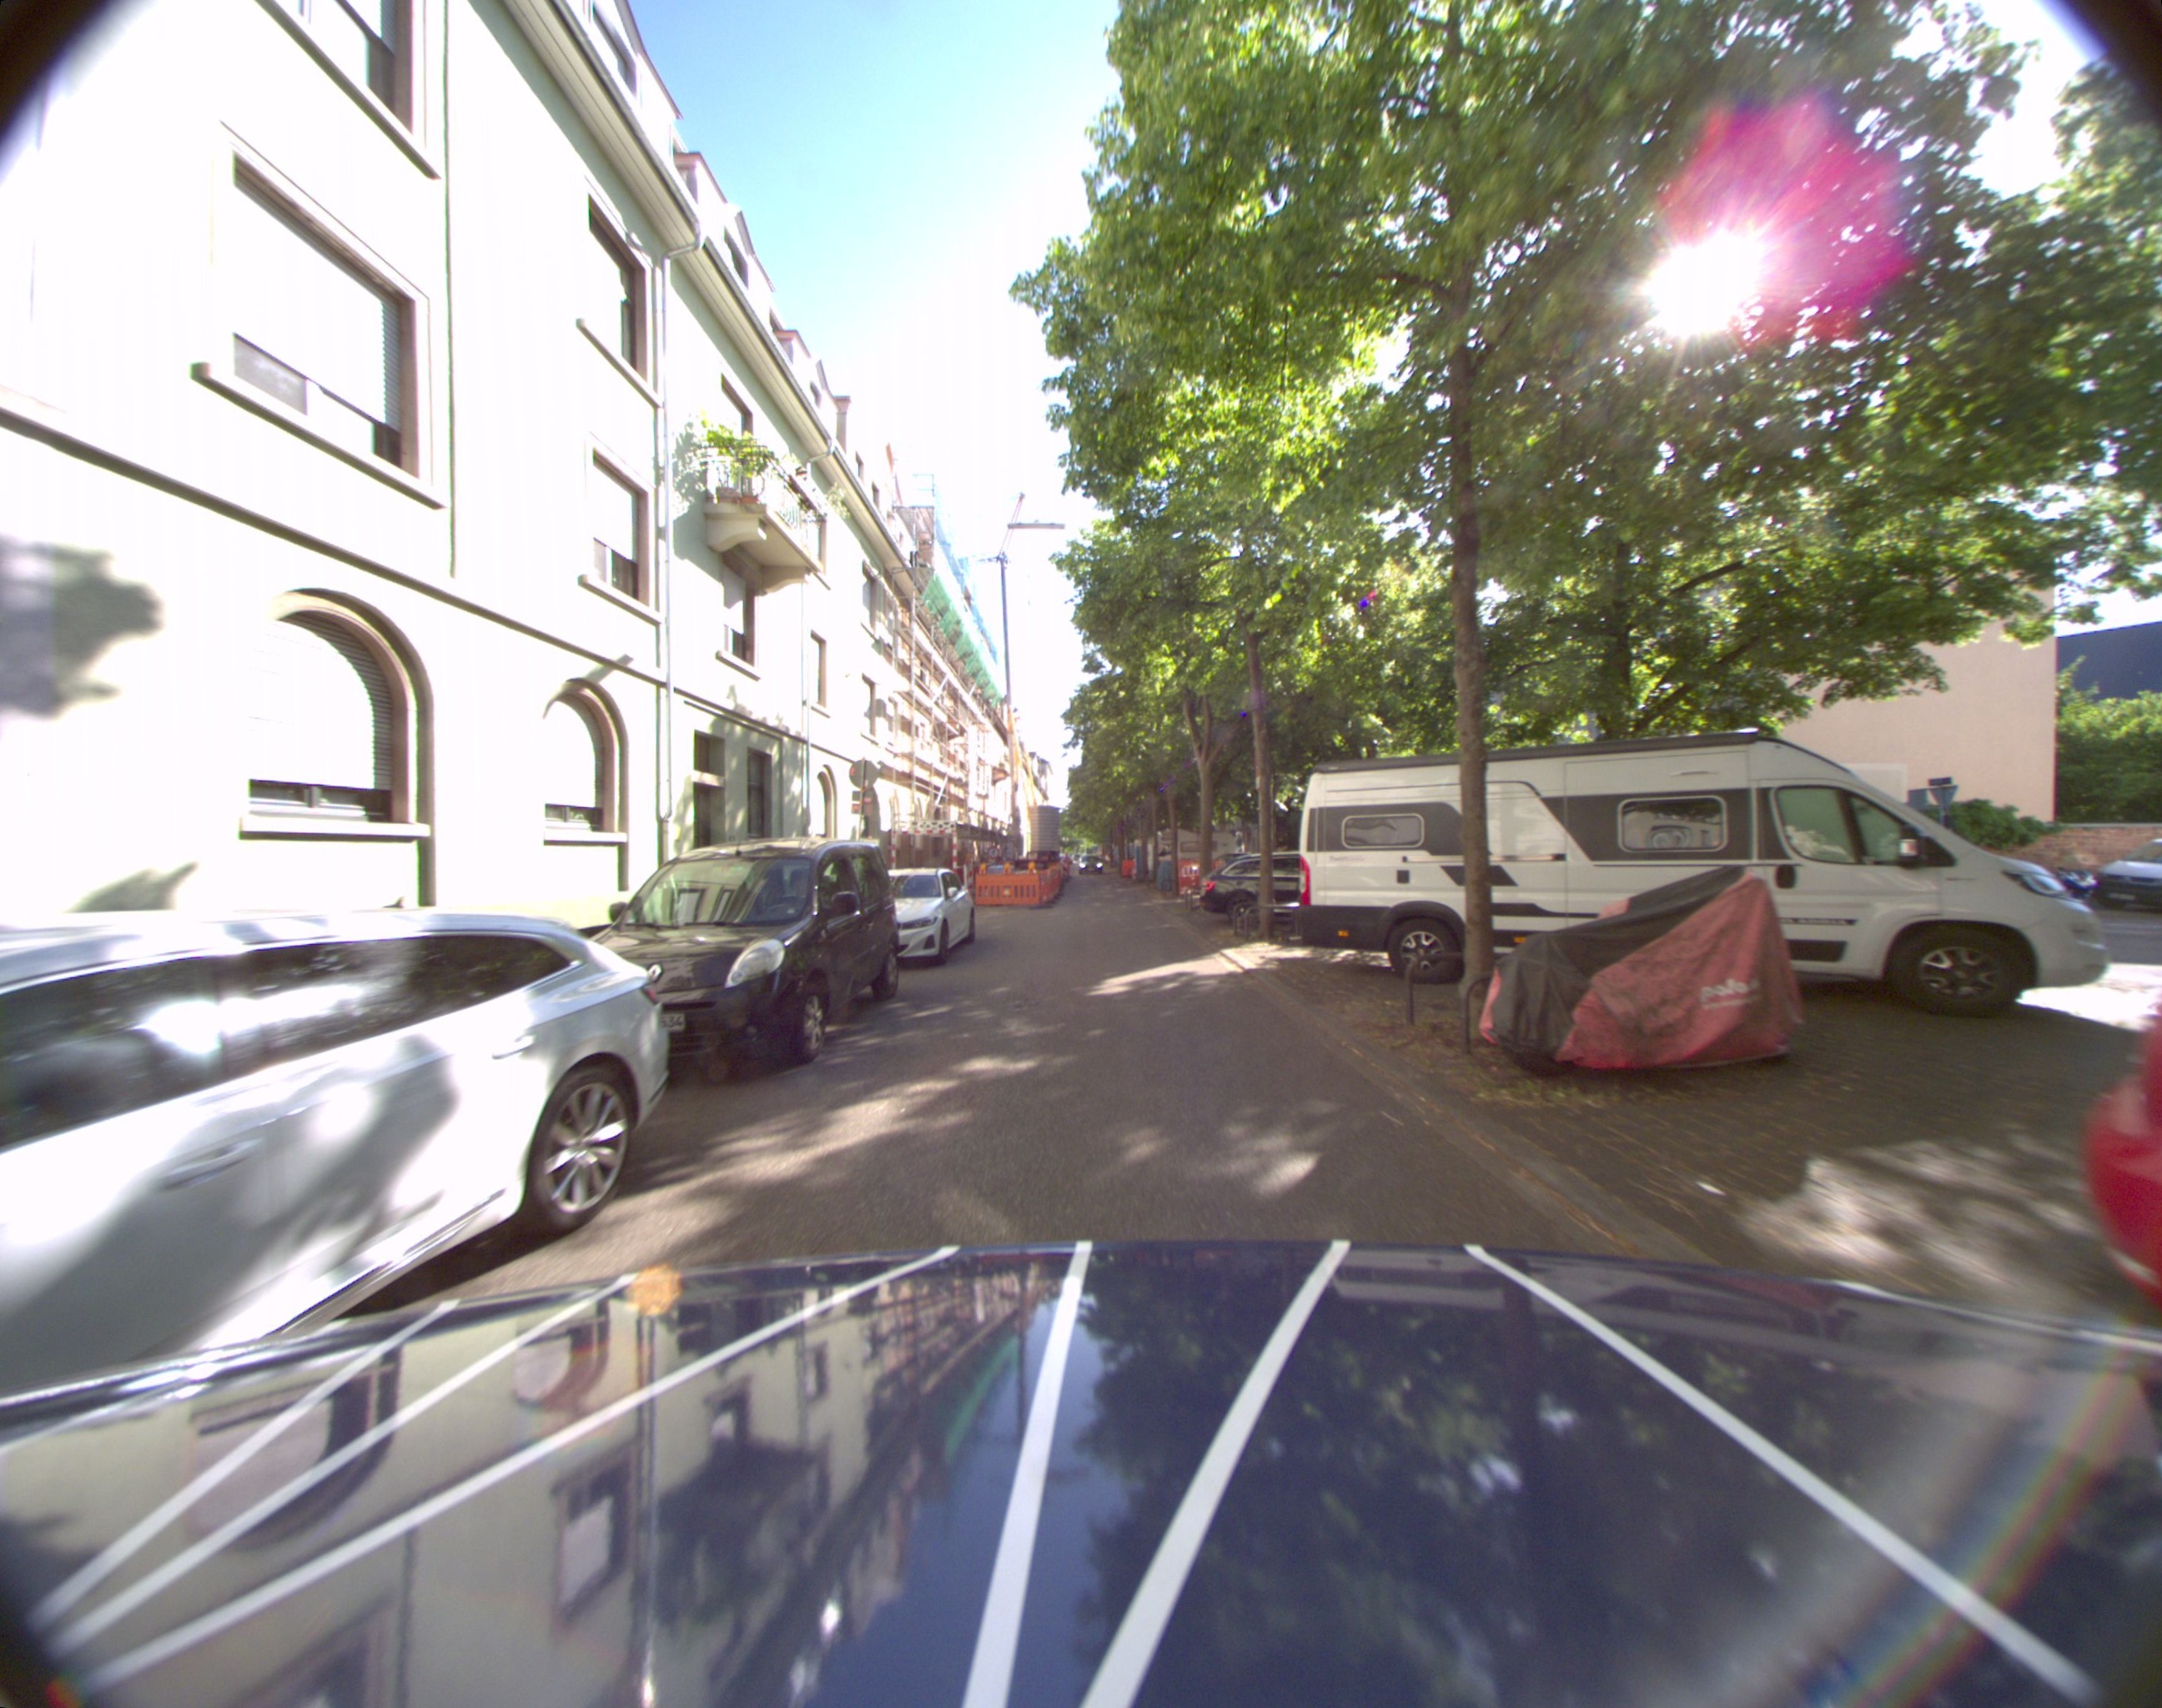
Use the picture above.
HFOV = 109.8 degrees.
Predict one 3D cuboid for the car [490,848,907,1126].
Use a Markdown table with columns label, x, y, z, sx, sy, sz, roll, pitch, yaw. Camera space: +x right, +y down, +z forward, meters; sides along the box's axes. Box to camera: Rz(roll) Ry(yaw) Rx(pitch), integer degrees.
| label | x | y | z | sx | sy | sz | roll | pitch | yaw |
| --- | --- | --- | --- | --- | --- | --- | --- | --- | --- |
| car | -2.922 | 0.848 | 6.908 | 1.776 | 1.783 | 3.989 | 0 | 0 | -1 |

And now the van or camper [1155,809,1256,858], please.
| label | x | y | z | sx | sy | sz | roll | pitch | yaw |
| --- | --- | --- | --- | --- | --- | --- | --- | --- | --- |
| van or camper | 8.105 | -1.278 | 49.649 | 6.017 | 2.984 | 2.404 | 0 | 1 | 29 |

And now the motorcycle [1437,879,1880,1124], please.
| label | x | y | z | sx | sy | sz | roll | pitch | yaw |
| --- | --- | --- | --- | --- | --- | --- | --- | --- | --- |
| motorcycle | 3.698 | 0.861 | 4.980 | 2.326 | 1.327 | 0.968 | -1 | 1 | -9 |

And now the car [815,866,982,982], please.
| label | x | y | z | sx | sy | sz | roll | pitch | yaw |
| --- | --- | --- | --- | --- | --- | --- | --- | --- | --- |
| car | -2.815 | 1.010 | 12.707 | 1.709 | 1.503 | 4.283 | 0 | 0 | 1 |

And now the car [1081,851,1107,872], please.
| label | x | y | z | sx | sy | sz | roll | pitch | yaw |
| --- | --- | --- | --- | --- | --- | --- | --- | --- | --- |
| car | 1.011 | 0.568 | 57.823 | 1.792 | 1.510 | 4.001 | 0 | 0 | 3 |

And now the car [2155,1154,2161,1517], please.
| label | x | y | z | sx | sy | sz | roll | pitch | yaw |
| --- | --- | --- | --- | --- | --- | --- | --- | --- | --- |
| car | 4.124 | 0.681 | 0.473 | 1.666 | 1.608 | 3.870 | 0 | 0 | -31 |

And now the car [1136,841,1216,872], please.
| label | x | y | z | sx | sy | sz | roll | pitch | yaw |
| --- | --- | --- | --- | --- | --- | --- | --- | --- | --- |
| car | 7.810 | 0.177 | 62.882 | 6.186 | 2.497 | 2.143 | 0 | 1 | 28 |

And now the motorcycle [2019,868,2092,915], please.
| label | x | y | z | sx | sy | sz | roll | pitch | yaw |
| --- | --- | --- | --- | --- | --- | --- | --- | --- | --- |
| motorcycle | 25.550 | 0.956 | 19.954 | 0.478 | 1.130 | 1.813 | 0 | 1 | 28 |

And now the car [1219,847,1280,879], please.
| label | x | y | z | sx | sy | sz | roll | pitch | yaw |
| --- | --- | --- | --- | --- | --- | --- | --- | --- | --- |
| car | 9.306 | 0.496 | 42.096 | 2.984 | 1.707 | 1.425 | 0 | 1 | 32 |

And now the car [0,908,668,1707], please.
| label | x | y | z | sx | sy | sz | roll | pitch | yaw |
| --- | --- | --- | --- | --- | --- | --- | --- | --- | --- |
| car | -2.918 | 1.015 | 1.604 | 1.611 | 1.412 | 4.567 | 0 | 1 | -1 |

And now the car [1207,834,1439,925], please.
| label | x | y | z | sx | sy | sz | roll | pitch | yaw |
| --- | --- | --- | --- | --- | --- | --- | --- | --- | --- |
| car | 4.824 | 0.542 | 15.298 | 4.091 | 1.516 | 1.705 | -5 | -2 | 31 |

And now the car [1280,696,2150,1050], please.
| label | x | y | z | sx | sy | sz | roll | pitch | yaw |
| --- | --- | --- | --- | --- | --- | --- | --- | --- | --- |
| car | 5.638 | 0.167 | 8.137 | 6.311 | 2.544 | 2.342 | -1 | 1 | 33 |

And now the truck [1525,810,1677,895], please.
| label | x | y | z | sx | sy | sz | roll | pitch | yaw |
| --- | --- | --- | --- | --- | --- | --- | --- | --- | --- |
| truck | 15.998 | -0.048 | 23.685 | 1.926 | 2.395 | 4.264 | 0 | 0 | 3 |

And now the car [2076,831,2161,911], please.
| label | x | y | z | sx | sy | sz | roll | pitch | yaw |
| --- | --- | --- | --- | --- | --- | --- | --- | --- | --- |
| car | 29.167 | 0.445 | 19.665 | 4.359 | 2.014 | 1.999 | 1 | 1 | -3 |

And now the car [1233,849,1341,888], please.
| label | x | y | z | sx | sy | sz | roll | pitch | yaw |
| --- | --- | --- | --- | --- | --- | --- | --- | --- | --- |
| car | 8.045 | 0.553 | 29.679 | 3.904 | 1.452 | 1.580 | 0 | 1 | 21 |

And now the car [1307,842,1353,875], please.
| label | x | y | z | sx | sy | sz | roll | pitch | yaw |
| --- | --- | --- | --- | --- | --- | --- | --- | --- | --- |
| car | 15.963 | 0.267 | 48.923 | 1.625 | 2.002 | 4.267 | -2 | 0 | 2 |

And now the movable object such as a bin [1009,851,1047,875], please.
| label | x | y | z | sx | sy | sz | roll | pitch | yaw |
| --- | --- | --- | --- | --- | --- | --- | --- | --- | --- |
| movable object such as a bin | -3.426 | 0.544 | 49.402 | 1.872 | 1.518 | 1.631 | 0 | 1 | 35 |

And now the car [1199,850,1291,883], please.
| label | x | y | z | sx | sy | sz | roll | pitch | yaw |
| --- | --- | --- | --- | --- | --- | --- | --- | --- | --- |
| car | 7.891 | 0.580 | 36.690 | 3.988 | 1.510 | 1.674 | 0 | 1 | 34 |

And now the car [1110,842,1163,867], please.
| label | x | y | z | sx | sy | sz | roll | pitch | yaw |
| --- | --- | --- | --- | --- | --- | --- | --- | --- | --- |
| car | 4.915 | 0.043 | 67.680 | 4.386 | 2.155 | 1.774 | 0 | 1 | 28 |

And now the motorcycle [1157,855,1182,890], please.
| label | x | y | z | sx | sy | sz | roll | pitch | yaw |
| --- | --- | --- | --- | --- | --- | --- | --- | --- | --- |
| motorcycle | 3.639 | 0.745 | 31.093 | 0.631 | 1.317 | 2.231 | -2 | 1 | 16 |
